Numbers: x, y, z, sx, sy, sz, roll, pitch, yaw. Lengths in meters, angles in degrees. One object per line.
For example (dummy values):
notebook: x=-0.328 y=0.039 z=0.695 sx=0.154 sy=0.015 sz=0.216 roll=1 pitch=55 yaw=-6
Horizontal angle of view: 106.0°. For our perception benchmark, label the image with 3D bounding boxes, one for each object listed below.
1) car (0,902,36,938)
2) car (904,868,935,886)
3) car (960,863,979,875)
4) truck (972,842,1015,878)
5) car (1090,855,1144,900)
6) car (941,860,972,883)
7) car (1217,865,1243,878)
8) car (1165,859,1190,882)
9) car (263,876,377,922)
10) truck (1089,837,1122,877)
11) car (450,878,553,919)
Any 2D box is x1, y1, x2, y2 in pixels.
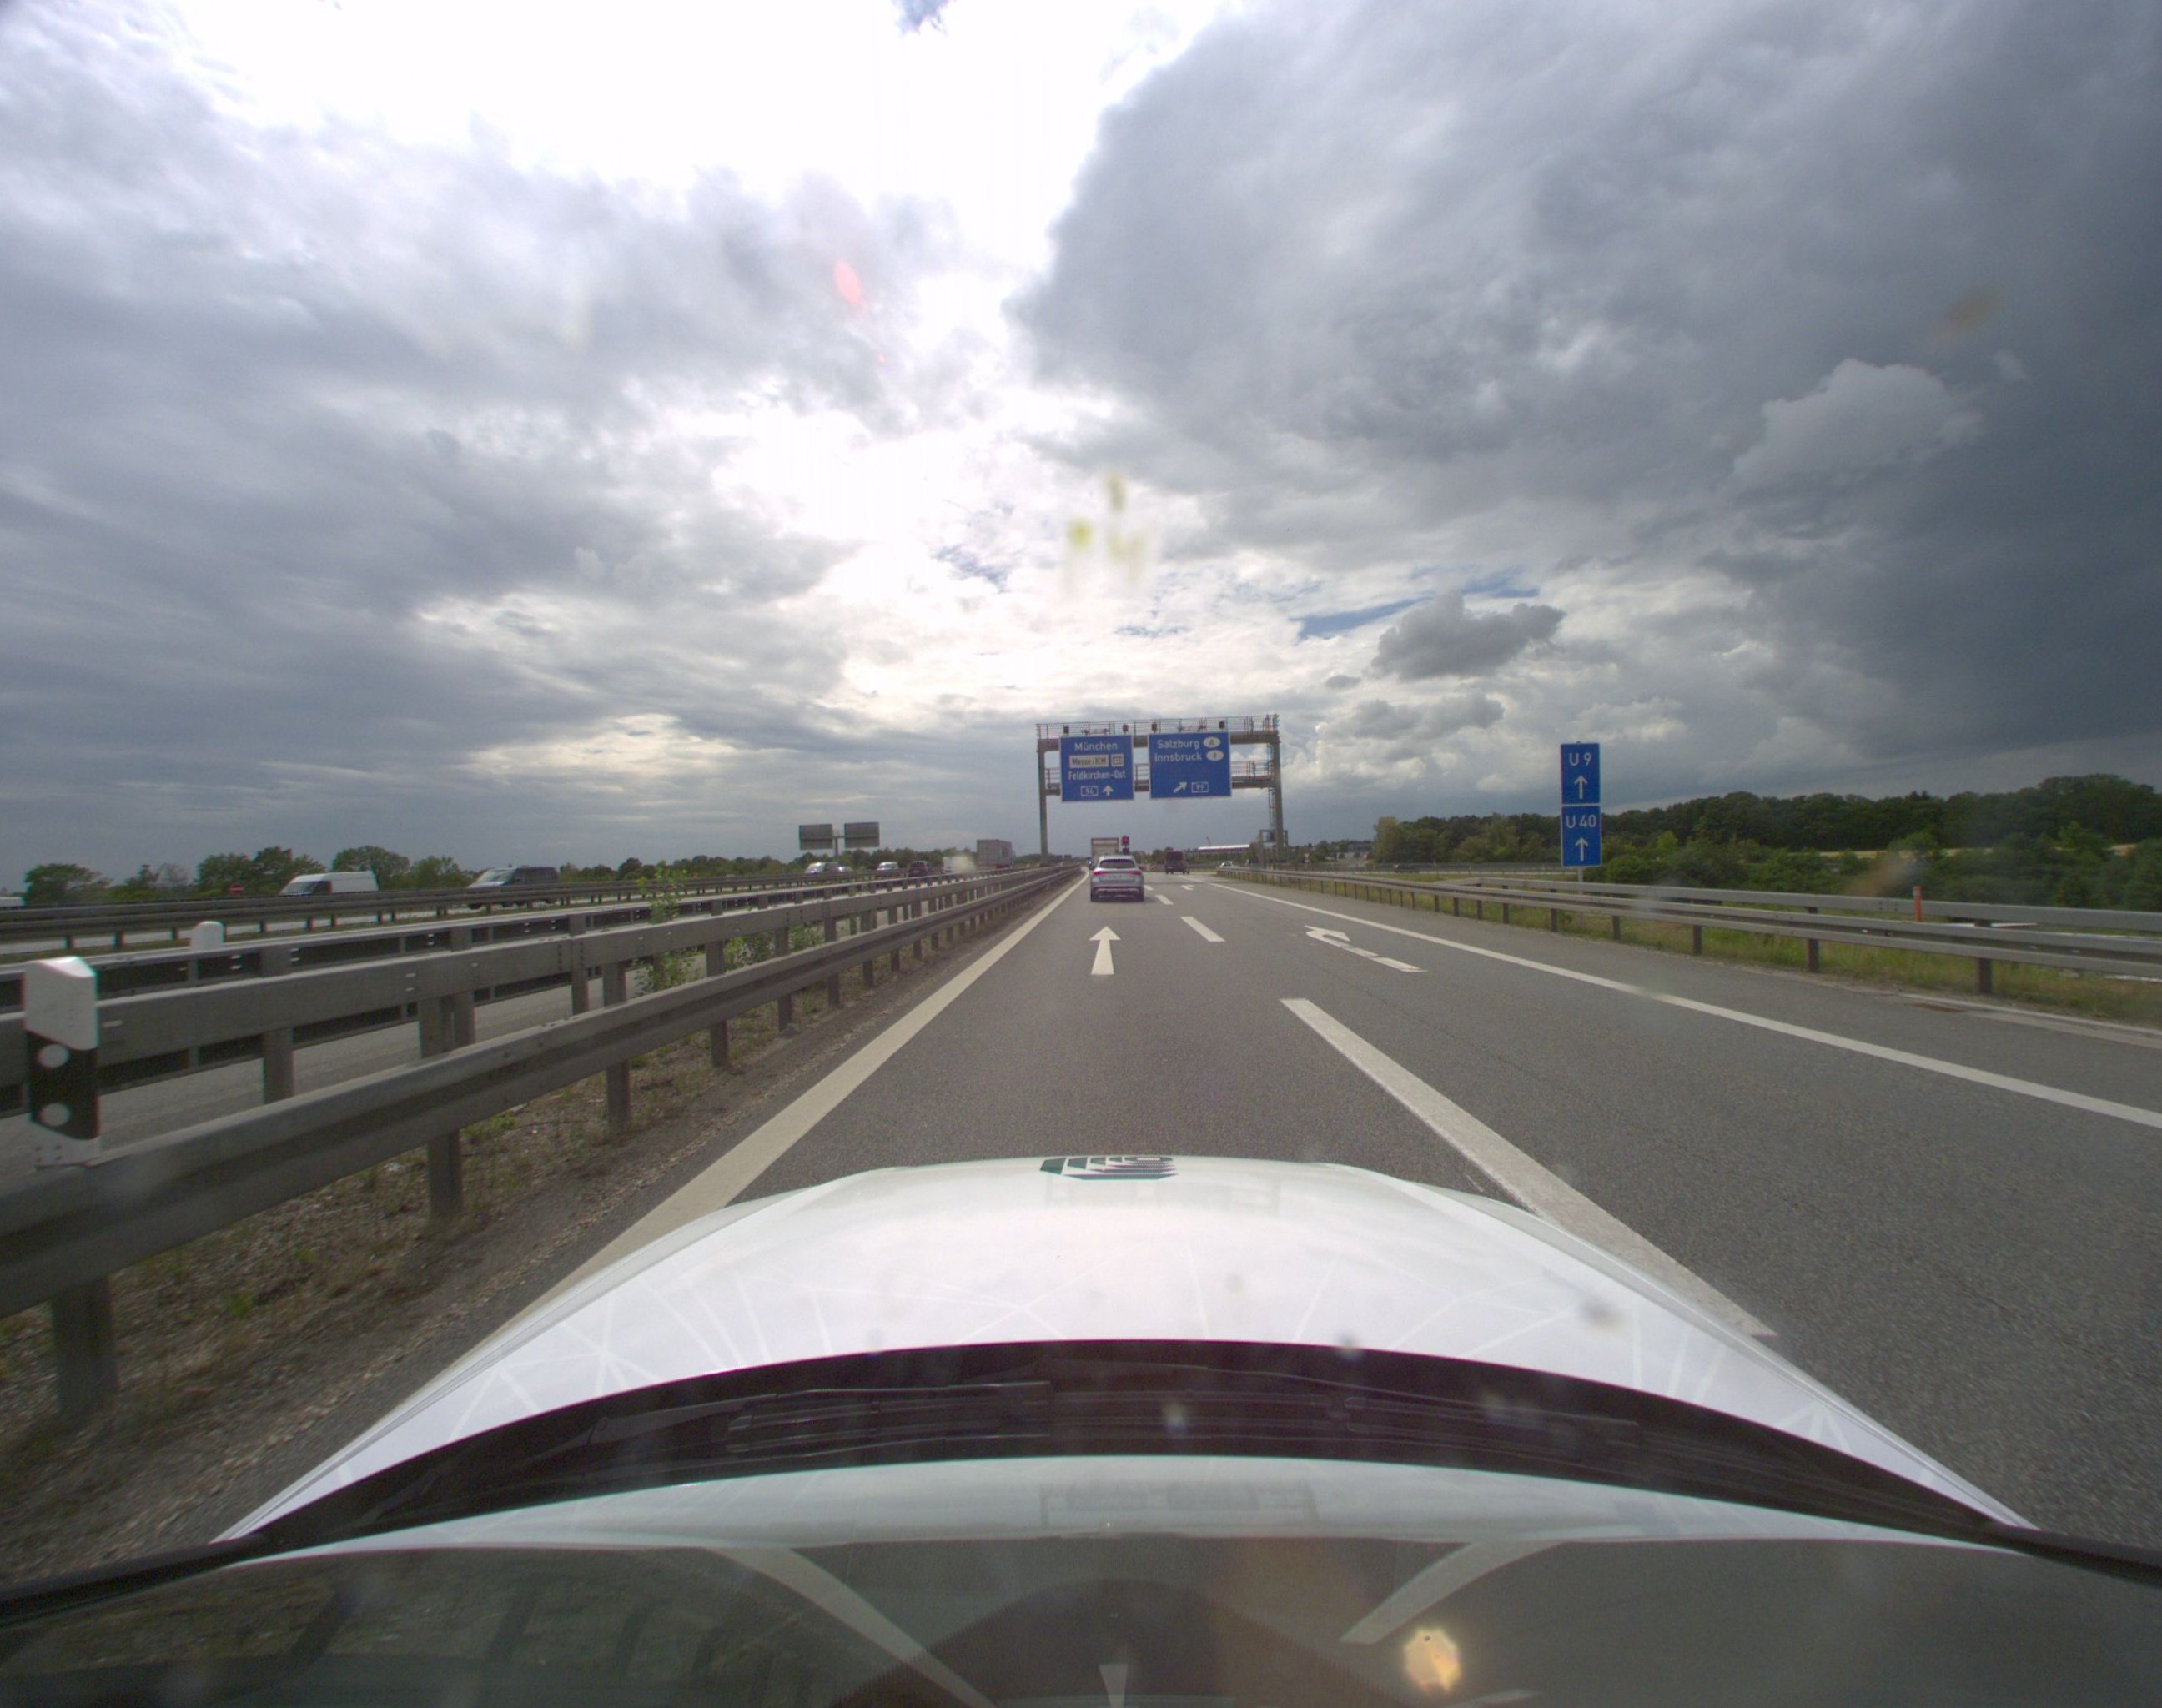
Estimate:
car: x=-48.507 y=2.898 z=35.121 sx=1.659 sy=1.496 sz=3.912 roll=2 pitch=-1 yaw=2
car: x=-15.053 y=2.121 z=76.170 sx=1.874 sy=1.546 sz=4.616 roll=-1 pitch=-1 yaw=2
car: x=-14.234 y=1.893 z=104.166 sx=1.791 sy=1.420 sz=4.001 roll=-1 pitch=-1 yaw=2
truck: x=-10.564 y=0.698 z=99.904 sx=3.172 sy=4.019 sz=16.076 roll=-1 pitch=0 yaw=1
car: x=1.294 y=0.806 z=29.666 sx=1.812 sy=1.514 sz=4.002 roll=-1 pitch=-1 yaw=2
car: x=-11.302 y=1.542 z=74.218 sx=1.986 sy=2.014 sz=4.376 roll=-1 pitch=-1 yaw=2
car: x=19.893 y=2.287 z=108.630 sx=1.974 sy=1.709 sz=4.025 roll=-1 pitch=-1 yaw=34
car: x=9.887 y=1.633 z=83.155 sx=1.893 sy=2.262 sz=4.667 roll=-1 pitch=-1 yaw=14
car: x=-42.058 y=2.437 z=45.163 sx=1.986 sy=2.306 sz=4.492 roll=-1 pitch=-1 yaw=2
truck: x=2.058 y=0.348 z=68.461 sx=2.559 sy=3.126 sz=8.637 roll=-1 pitch=-2 yaw=2
car: x=-28.556 y=2.134 z=40.319 sx=1.899 sy=1.816 sz=4.224 roll=1 pitch=0 yaw=2
